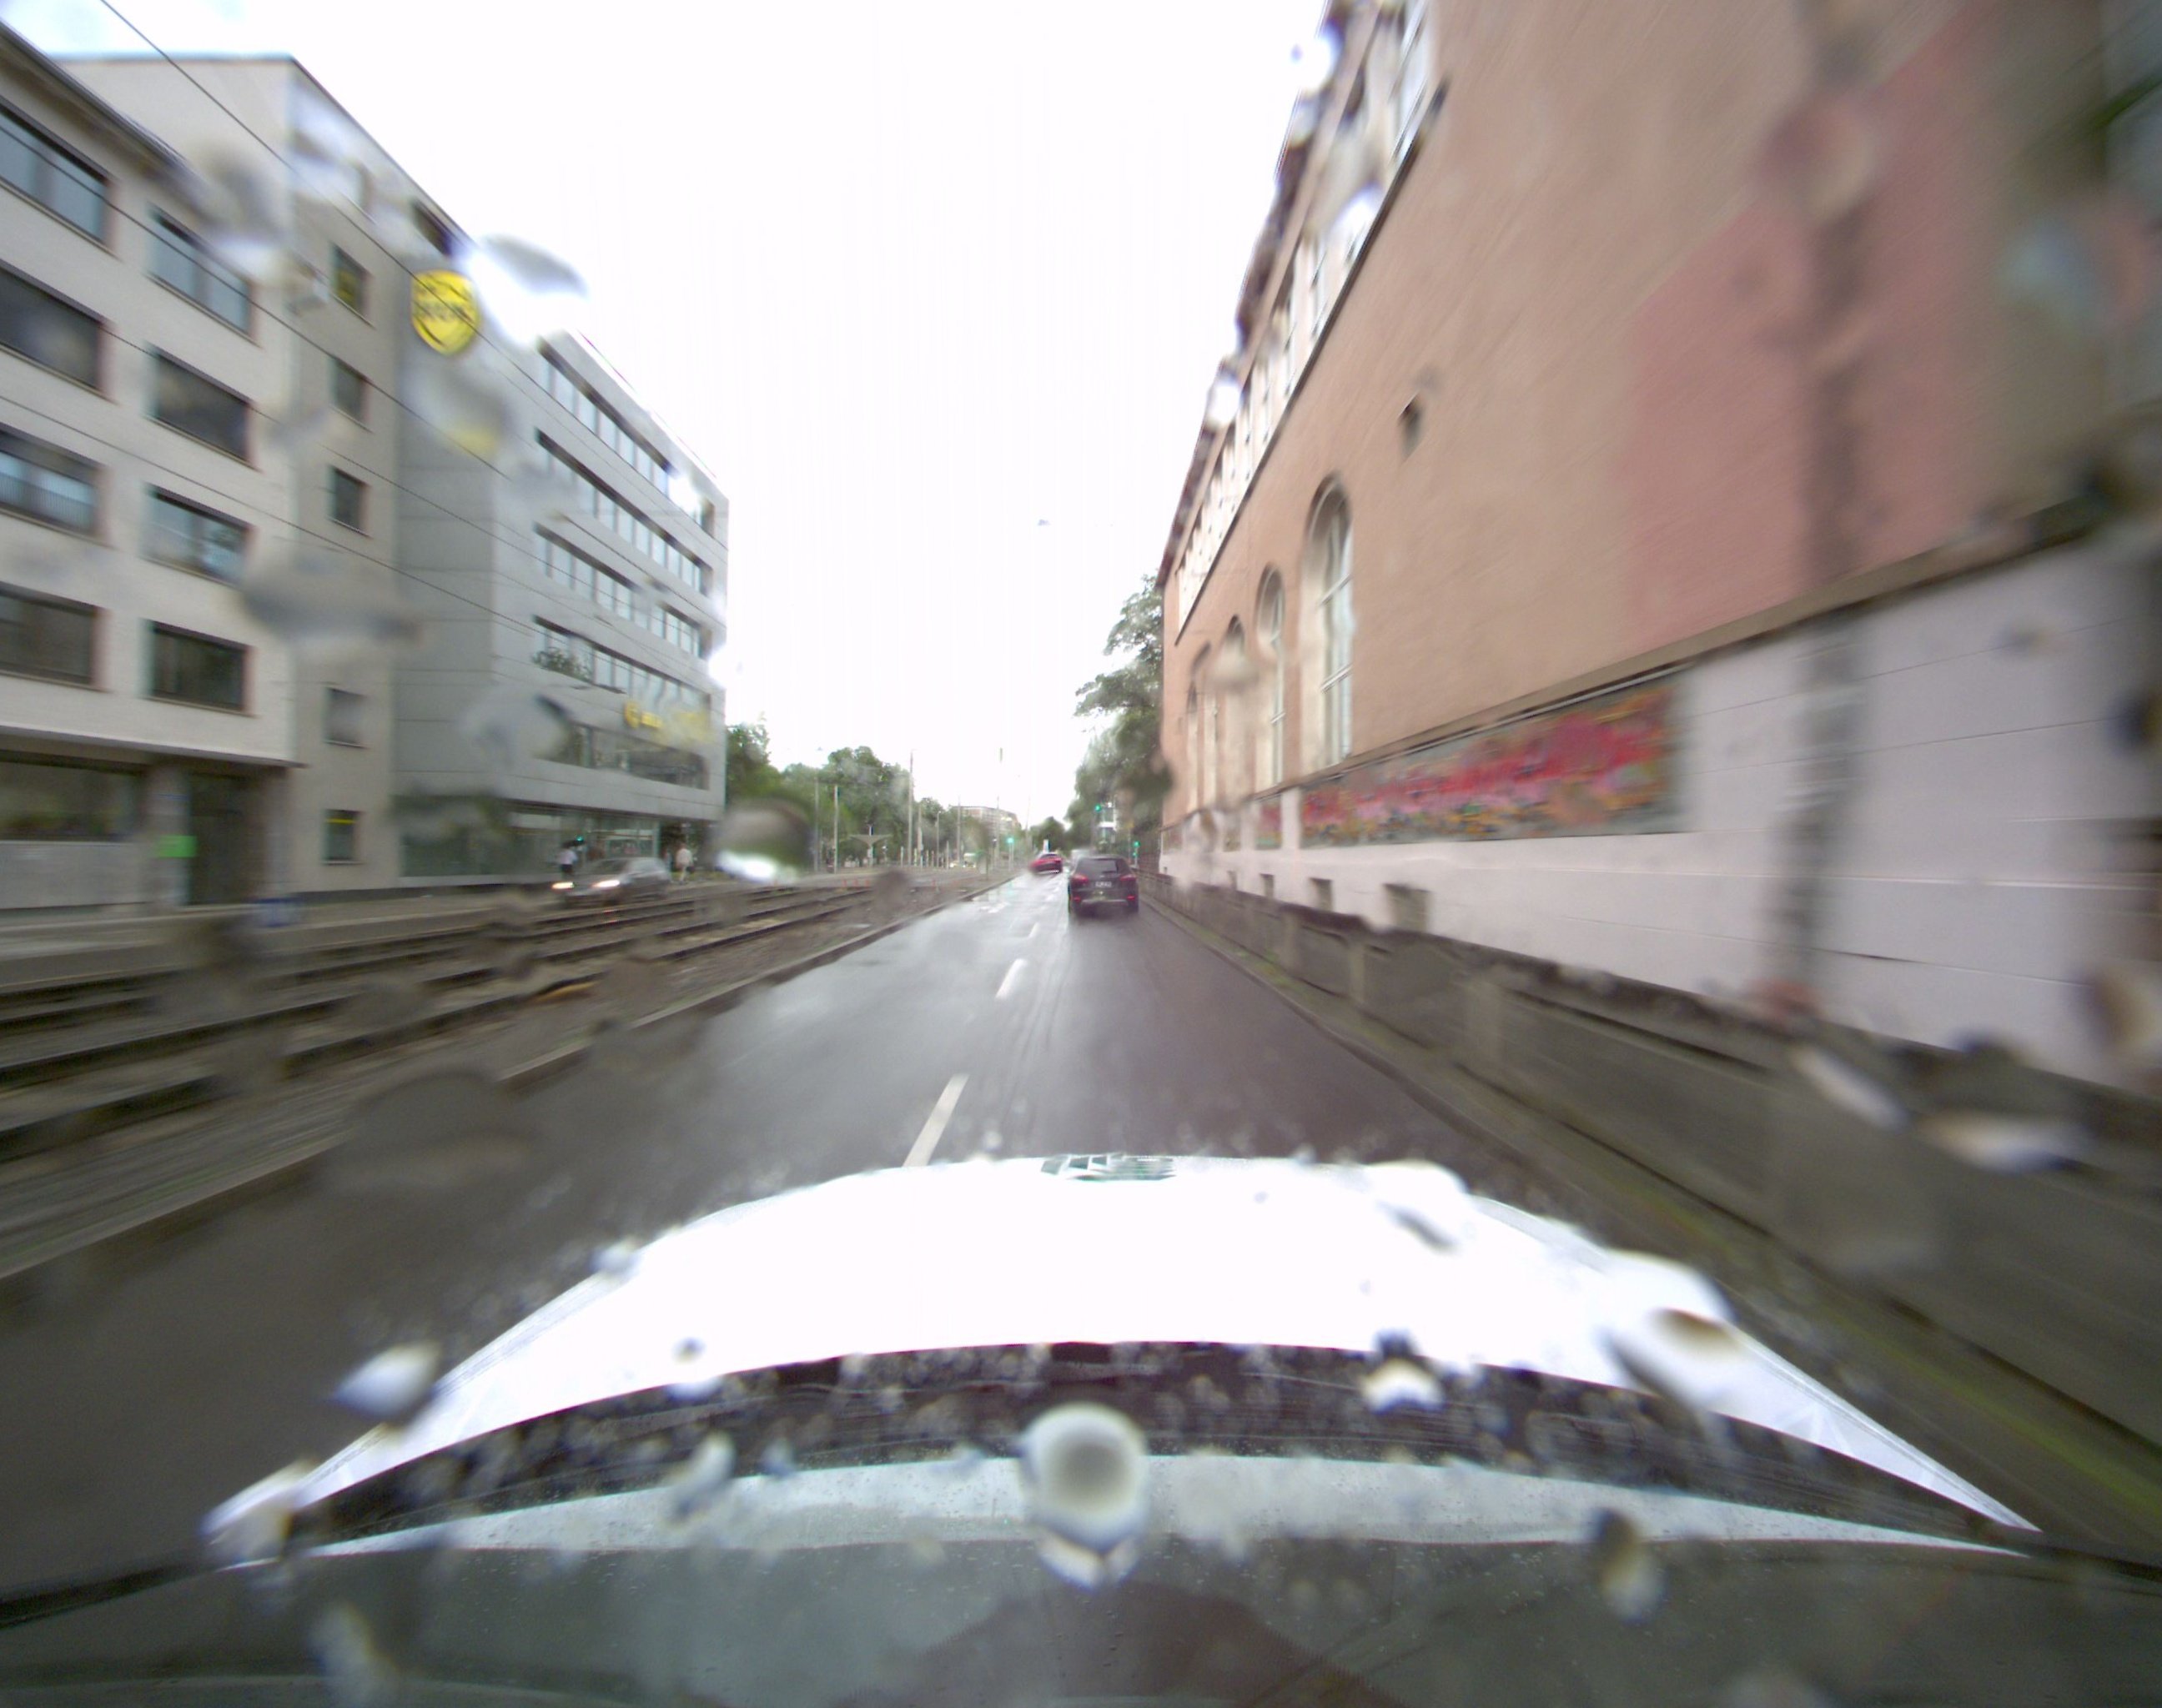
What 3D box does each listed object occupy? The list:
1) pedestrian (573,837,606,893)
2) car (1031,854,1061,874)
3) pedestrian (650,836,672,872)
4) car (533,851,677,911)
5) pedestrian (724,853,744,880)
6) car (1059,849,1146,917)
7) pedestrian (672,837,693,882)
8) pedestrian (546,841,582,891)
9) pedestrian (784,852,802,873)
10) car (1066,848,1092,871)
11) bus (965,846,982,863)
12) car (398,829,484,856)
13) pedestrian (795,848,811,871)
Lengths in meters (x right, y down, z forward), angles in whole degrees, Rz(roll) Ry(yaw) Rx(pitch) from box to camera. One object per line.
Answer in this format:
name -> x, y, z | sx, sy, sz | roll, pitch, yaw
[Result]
pedestrian -> -18.181, 0.403, 30.147 | 0.659, 2.014, 0.810 | 2, -1, 0
car -> -2.770, 0.749, 65.419 | 2.091, 1.506, 4.732 | -1, 0, 1
pedestrian -> -19.030, 0.005, 36.913 | 0.582, 1.594, 0.638 | 2, -1, 16
car -> -14.208, 0.735, 24.632 | 1.936, 1.536, 4.343 | -3, 0, -4
pedestrian -> -20.754, 0.731, 48.672 | 0.970, 1.594, 0.583 | 2, -1, -34
car -> 0.497, 0.678, 21.303 | 2.029, 1.584, 4.391 | 0, 0, 0
pedestrian -> -18.100, 0.252, 36.998 | 0.666, 2.014, 0.610 | 2, -1, -39
pedestrian -> -19.118, 0.448, 30.125 | 0.659, 1.815, 0.973 | 2, -1, 0
pedestrian -> -22.878, 0.697, 64.708 | 0.902, 1.594, 1.009 | 1, -1, 31
car -> -0.122, 0.413, 66.768 | 2.028, 1.840, 4.393 | 0, 0, 1
bus -> -21.728, 0.081, 165.248 | 3.074, 3.300, 12.492 | -1, 0, -7
car -> -36.652, -0.643, 46.748 | 3.548, 1.448, 1.688 | -1, 0, -27
pedestrian -> -23.189, 0.486, 67.948 | 0.991, 1.863, 0.918 | 1, -1, 45
